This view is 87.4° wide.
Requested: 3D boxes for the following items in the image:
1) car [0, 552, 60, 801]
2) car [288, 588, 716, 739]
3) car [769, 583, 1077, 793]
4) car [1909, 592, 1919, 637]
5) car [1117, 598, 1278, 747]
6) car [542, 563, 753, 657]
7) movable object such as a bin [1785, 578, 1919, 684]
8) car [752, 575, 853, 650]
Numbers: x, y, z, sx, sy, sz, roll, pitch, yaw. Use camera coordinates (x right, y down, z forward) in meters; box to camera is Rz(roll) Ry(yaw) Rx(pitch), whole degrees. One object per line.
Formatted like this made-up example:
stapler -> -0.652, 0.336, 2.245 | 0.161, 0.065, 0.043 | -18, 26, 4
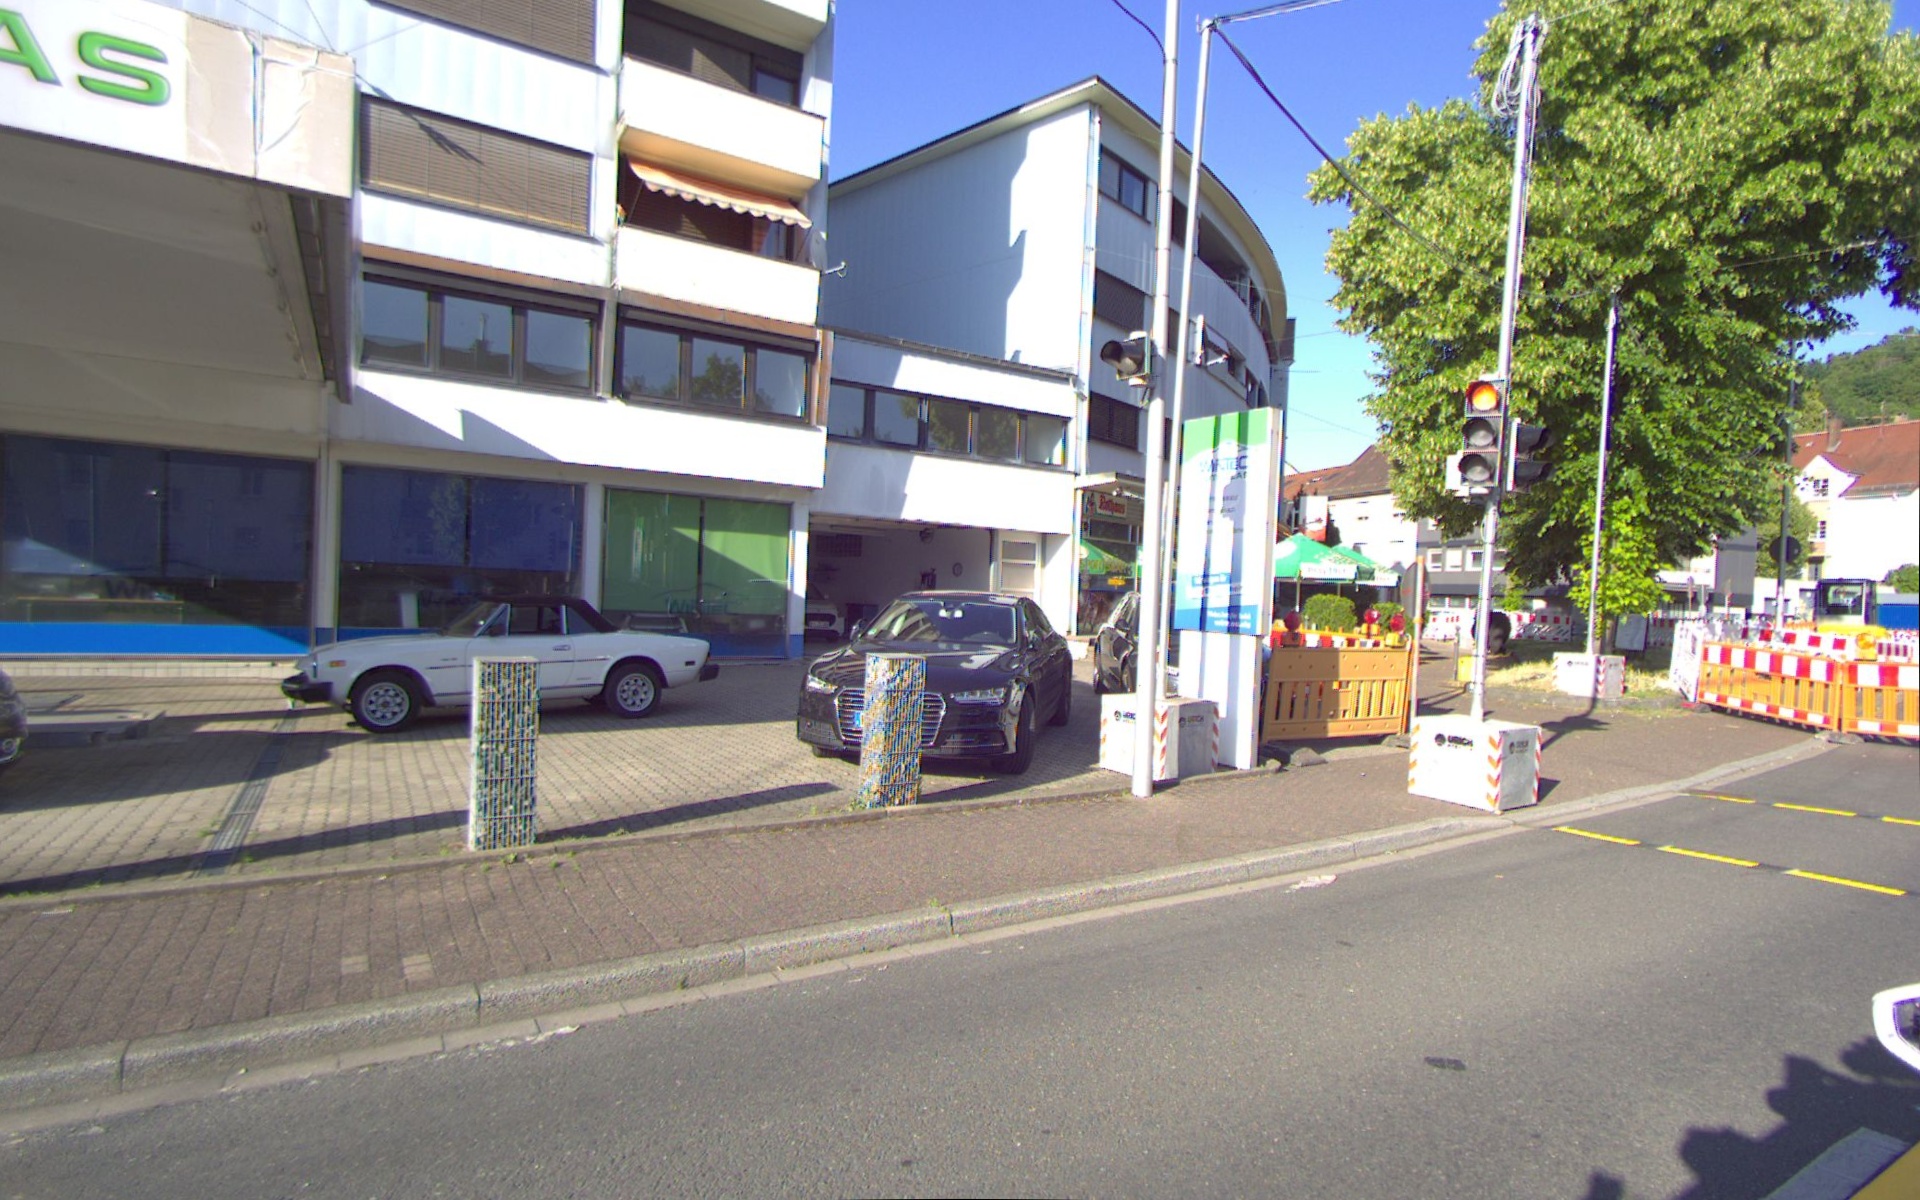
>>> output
car -> -7.485, 0.407, 5.856 | 3.305, 1.506, 1.543 | 2, 0, 8
car -> -4.678, 0.591, 10.484 | 3.865, 1.315, 1.511 | 1, -1, -35
car -> -0.028, 0.649, 9.568 | 1.893, 1.457, 4.692 | 1, -1, 11
car -> 49.522, 0.794, 48.379 | 6.043, 2.149, 2.586 | 2, 0, -12
car -> 2.756, 0.744, 12.077 | 1.564, 1.457, 3.887 | 1, 0, 11
car -> -6.103, 0.217, 19.707 | 3.593, 1.696, 1.707 | 2, 0, -34
movable object such as a bin -> 21.533, 0.702, 24.148 | 3.882, 2.356, 1.635 | 1, 0, -36
car -> -3.896, 0.252, 24.378 | 1.550, 1.629, 3.734 | 2, 1, -23
